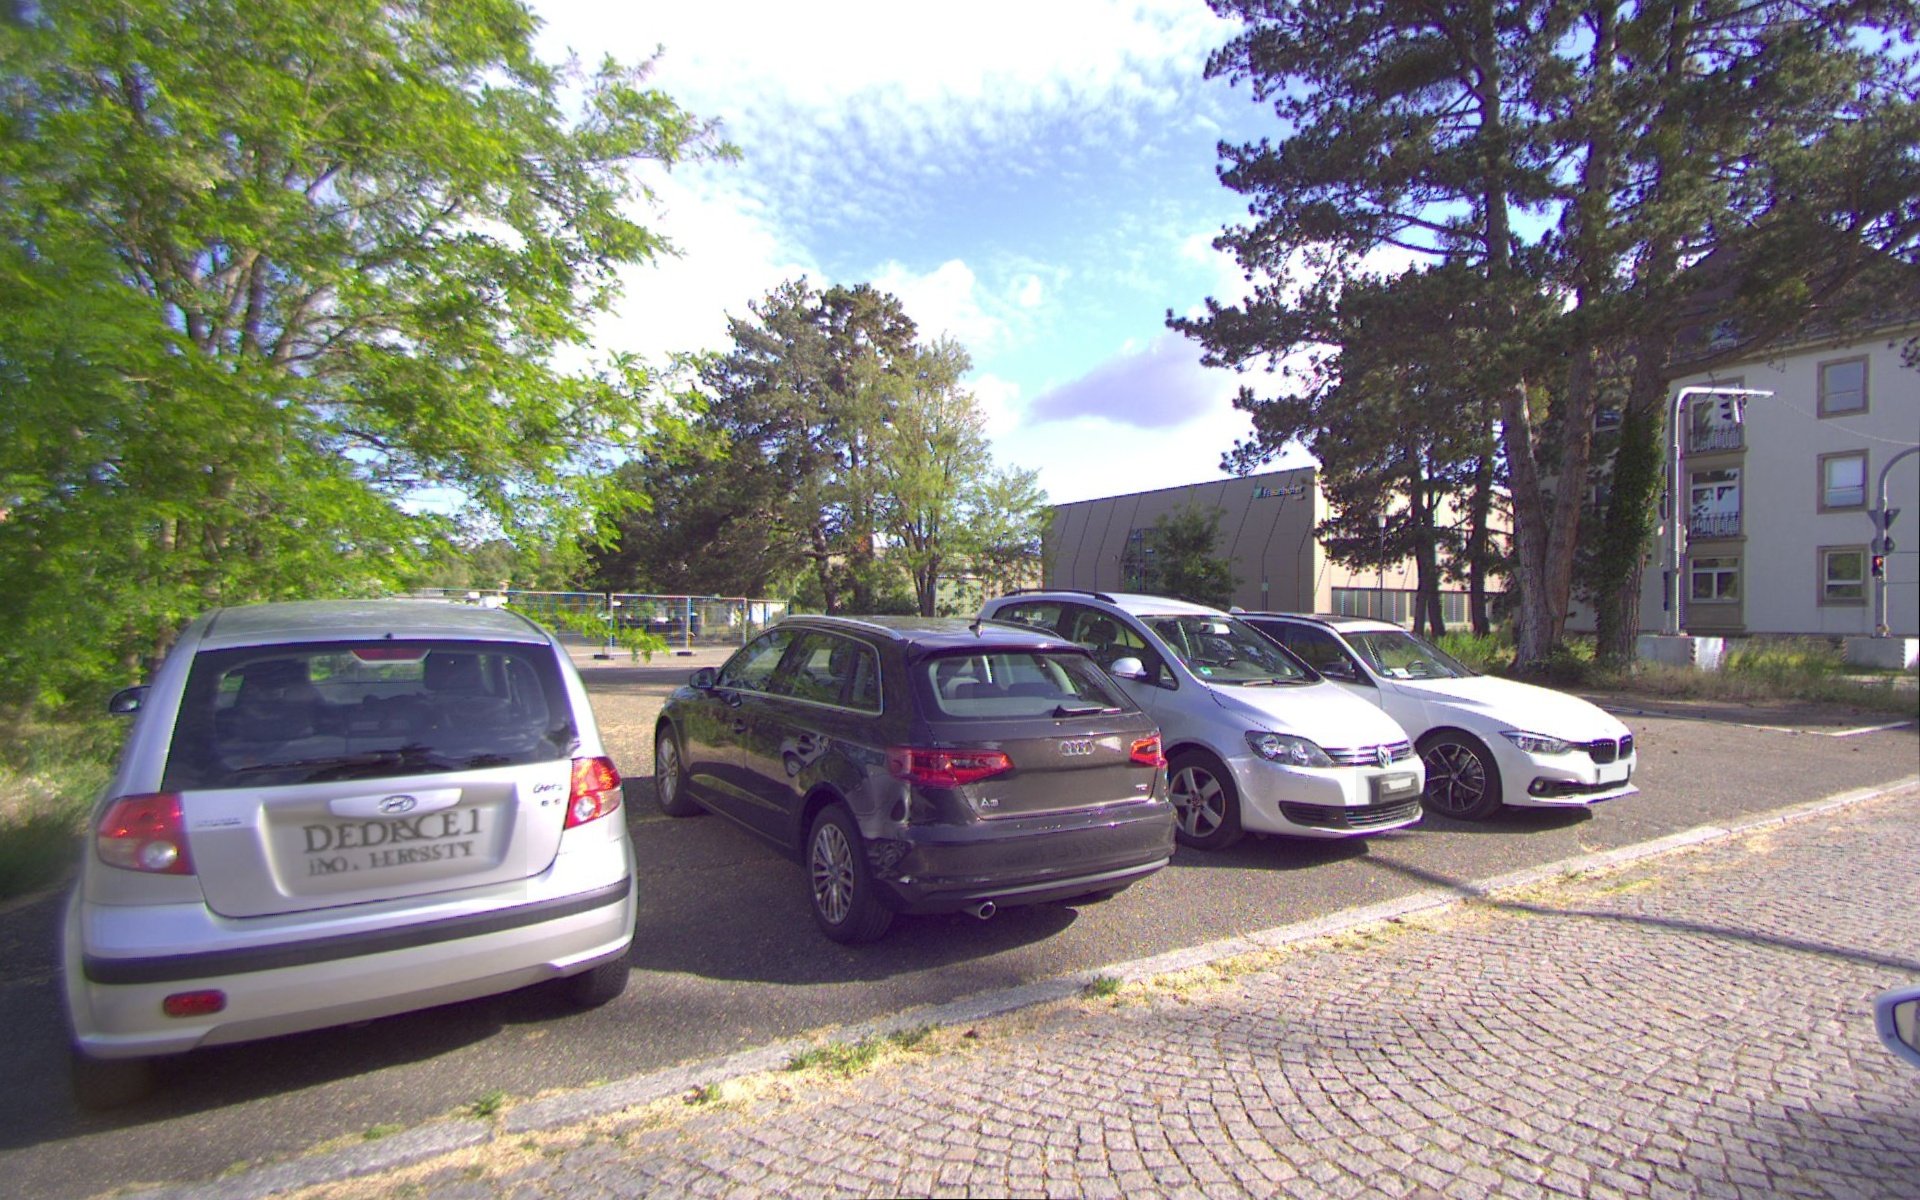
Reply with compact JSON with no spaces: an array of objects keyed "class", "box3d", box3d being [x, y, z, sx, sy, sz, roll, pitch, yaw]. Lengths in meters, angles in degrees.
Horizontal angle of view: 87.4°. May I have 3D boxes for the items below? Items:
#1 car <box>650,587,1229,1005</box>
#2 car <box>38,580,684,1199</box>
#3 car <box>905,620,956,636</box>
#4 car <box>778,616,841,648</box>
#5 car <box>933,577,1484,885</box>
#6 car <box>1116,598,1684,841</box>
[{"class":"car","box3d":[-0.457,0.746,5.888,1.669,1.491,3.775,1,2,-32]},{"class":"car","box3d":[-2.565,0.725,4.401,1.619,1.491,3.443,1,2,-33]},{"class":"car","box3d":[-2.184,2.078,74.734,3.634,1.090,1.399,1,-1,-28]},{"class":"car","box3d":[-6.928,1.437,46.089,1.726,1.388,3.595,1,-1,-29]},{"class":"car","box3d":[1.597,0.709,7.701,1.705,1.648,3.917,1,2,-35]},{"class":"car","box3d":[3.611,0.814,9.160,1.734,1.487,4.513,0,2,-33]}]
